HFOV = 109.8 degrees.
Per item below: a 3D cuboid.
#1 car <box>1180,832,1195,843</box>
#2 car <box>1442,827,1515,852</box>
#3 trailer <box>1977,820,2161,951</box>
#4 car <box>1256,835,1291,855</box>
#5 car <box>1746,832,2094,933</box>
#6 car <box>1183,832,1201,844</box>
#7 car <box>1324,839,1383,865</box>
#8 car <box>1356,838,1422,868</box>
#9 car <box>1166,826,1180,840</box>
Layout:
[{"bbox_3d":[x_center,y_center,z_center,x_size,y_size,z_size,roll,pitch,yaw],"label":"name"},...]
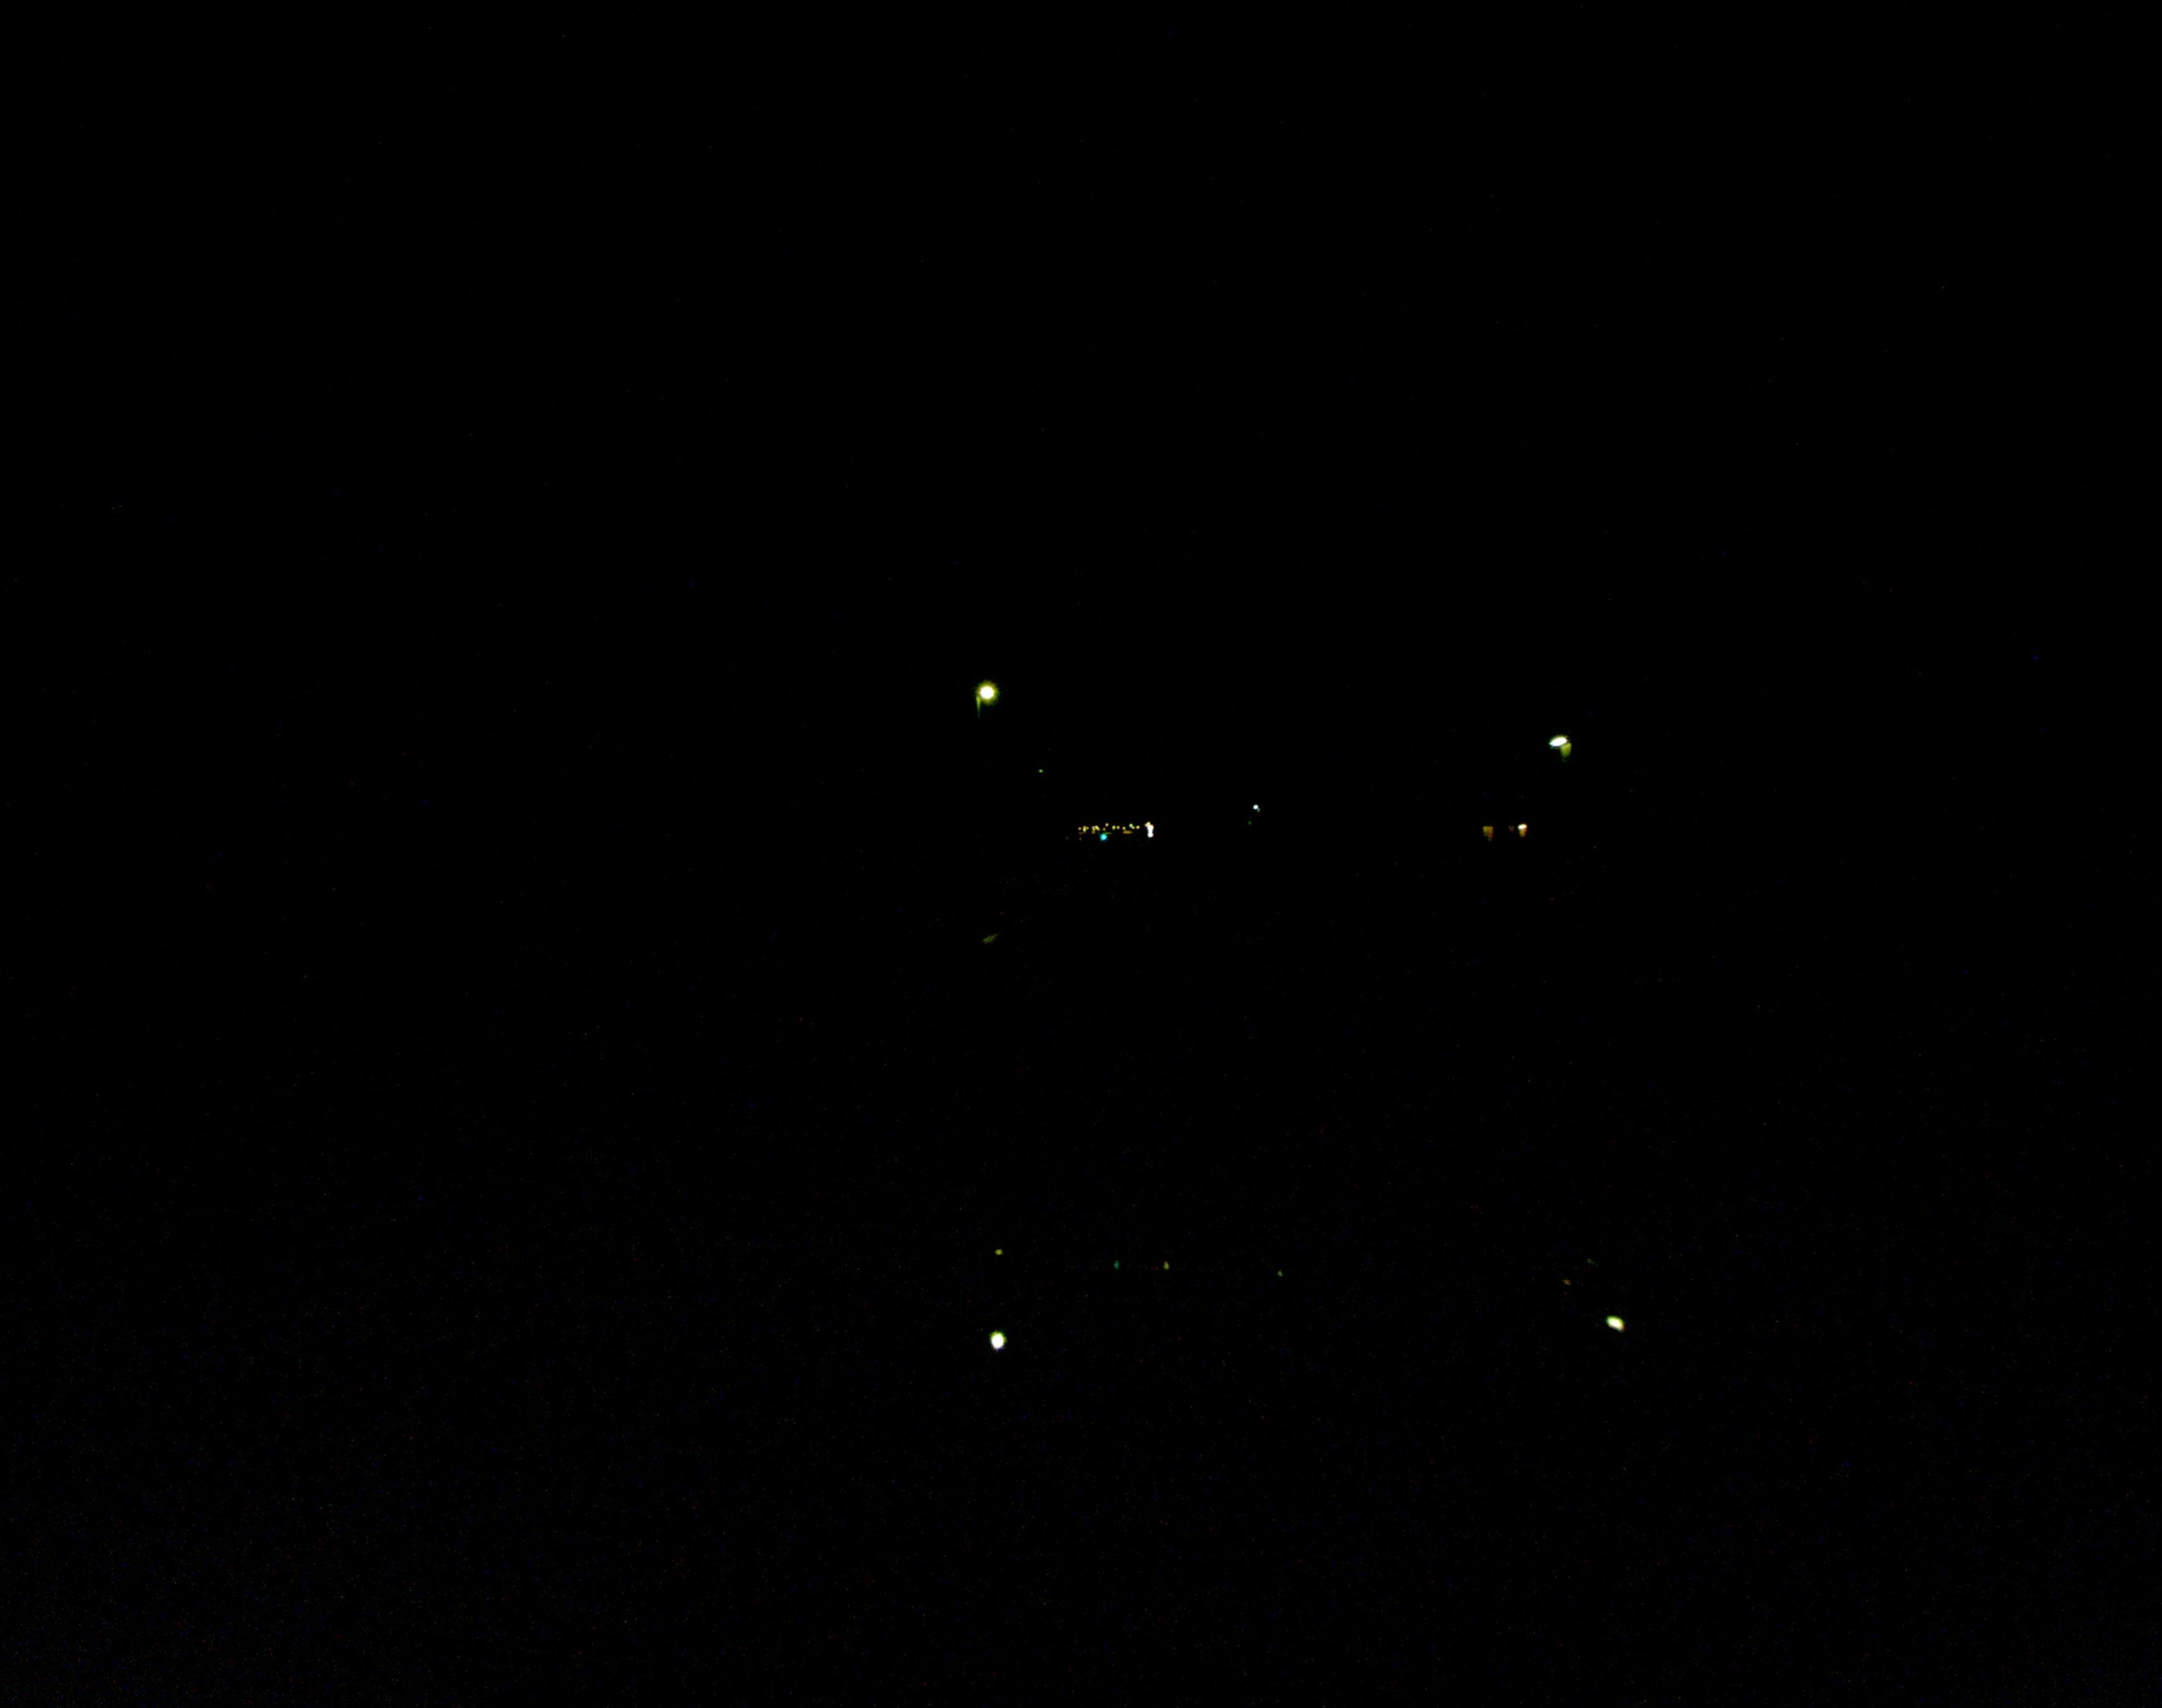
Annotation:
[{"bbox_3d":[17.752,-2.757,126.985,2.124,1.761,4.720,2,2,3],"label":"car"},{"bbox_3d":[27.135,-1.009,51.891,3.997,1.534,1.889,-2,2,-1],"label":"car"},{"bbox_3d":[15.626,0.473,9.567,2.029,1.771,5.673,2,1,2],"label":"trailer"},{"bbox_3d":[16.560,-0.805,65.447,1.768,1.559,4.692,4,1,1],"label":"car"},{"bbox_3d":[15.757,0.407,14.754,1.721,1.568,4.534,3,2,2],"label":"car"},{"bbox_3d":[16.598,-2.397,113.595,2.124,1.761,4.720,2,2,3],"label":"car"},{"bbox_3d":[16.308,-0.185,45.728,1.905,1.357,4.983,2,2,3],"label":"car"},{"bbox_3d":[16.117,-0.096,39.962,1.732,1.357,4.144,2,2,1],"label":"car"},{"bbox_3d":[17.043,-3.829,140.353,2.164,2.499,4.720,2,2,3],"label":"car"}]
